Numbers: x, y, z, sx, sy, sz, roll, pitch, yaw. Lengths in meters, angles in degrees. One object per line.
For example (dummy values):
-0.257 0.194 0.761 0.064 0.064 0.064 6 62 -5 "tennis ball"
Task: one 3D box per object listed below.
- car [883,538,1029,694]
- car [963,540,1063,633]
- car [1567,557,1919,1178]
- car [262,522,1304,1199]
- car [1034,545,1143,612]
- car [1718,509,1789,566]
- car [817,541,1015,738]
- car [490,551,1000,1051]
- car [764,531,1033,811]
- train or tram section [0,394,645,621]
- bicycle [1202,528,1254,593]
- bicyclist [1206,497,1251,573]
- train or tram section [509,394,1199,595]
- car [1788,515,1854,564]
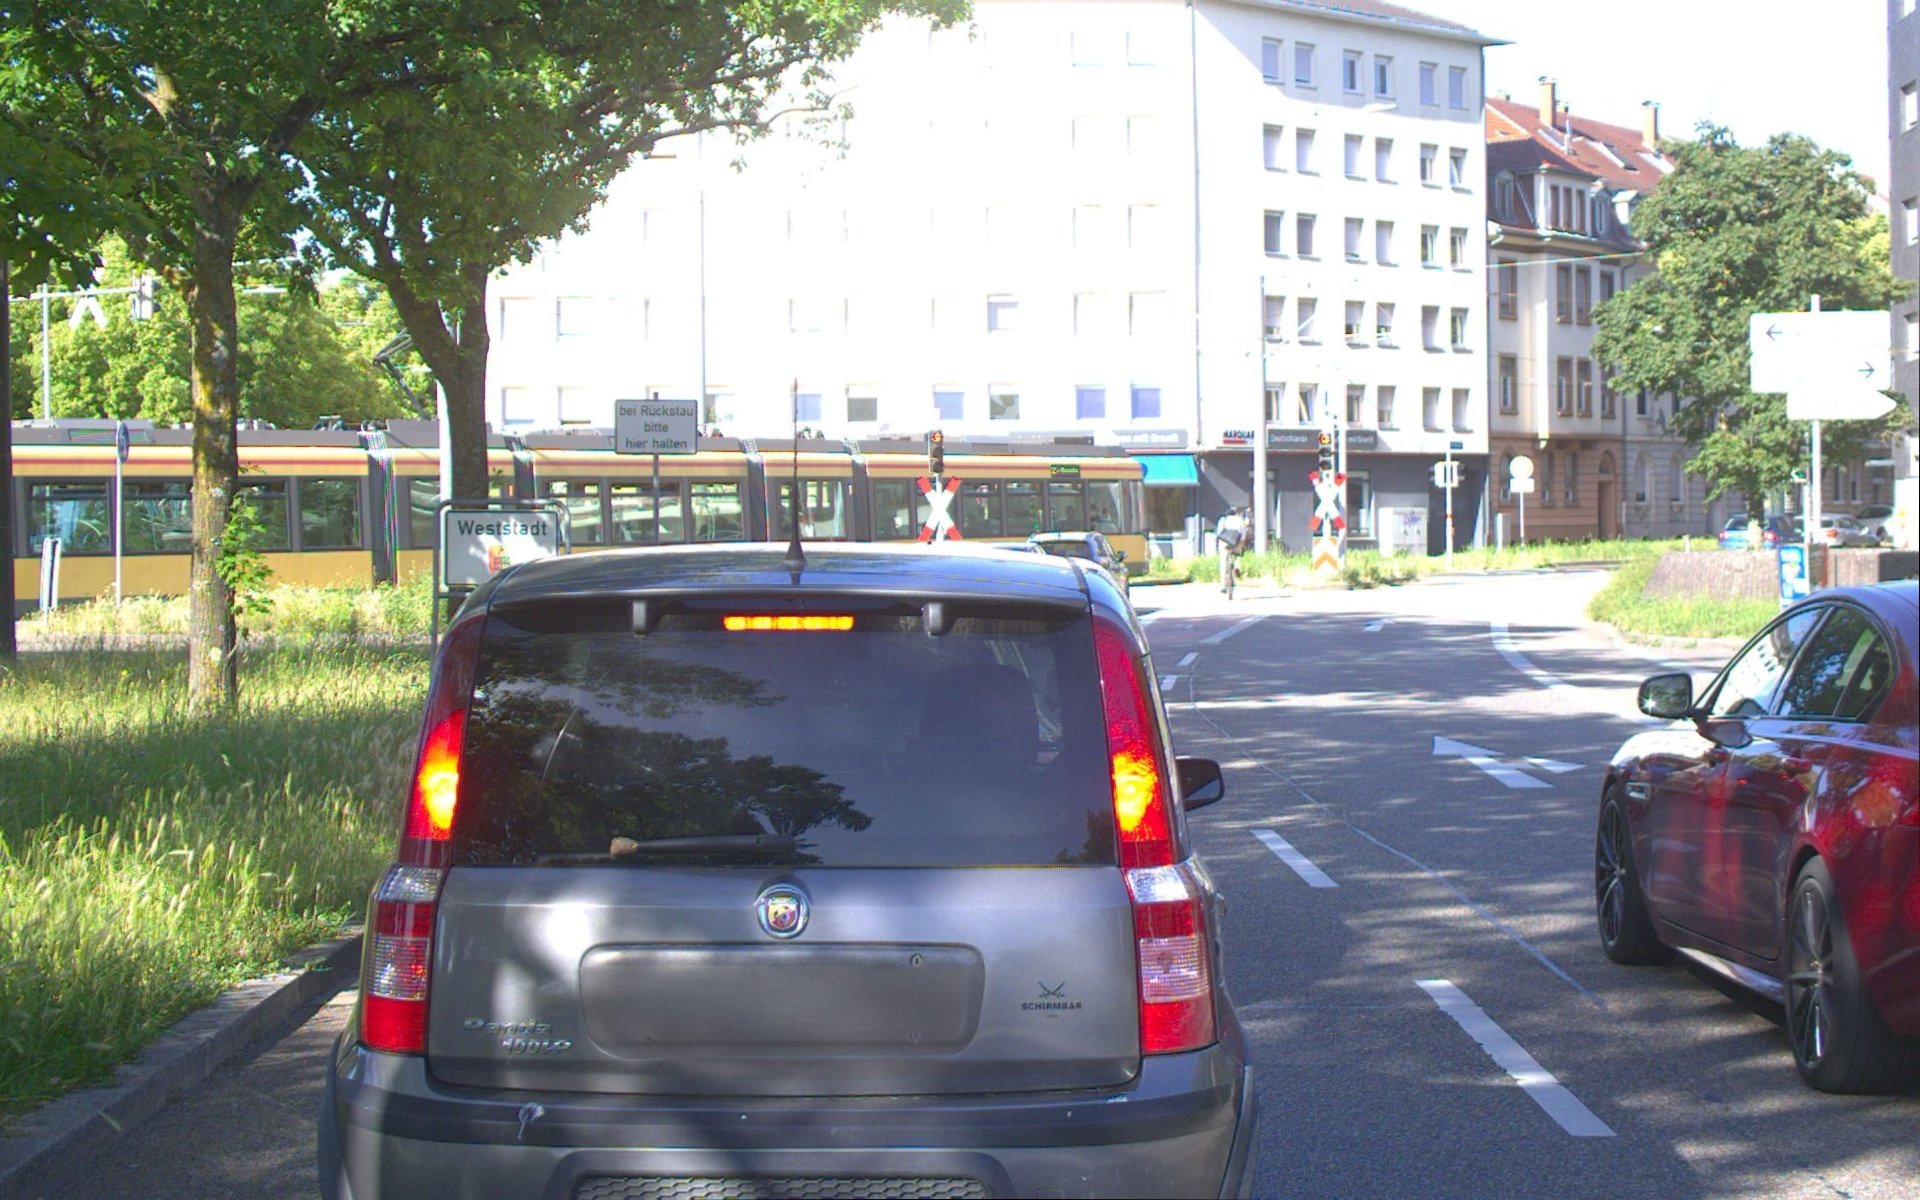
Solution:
-0.059 0.122 33.864 1.356 1.444 3.266 -1 1 -1 "car"
0.750 -0.212 49.597 1.356 1.277 2.876 0 1 -1 "car"
3.216 0.621 10.518 1.887 1.423 4.387 0 2 -1 "car"
-0.297 0.596 7.420 1.628 1.503 4.000 -1 1 -1 "car"
2.172 -0.370 57.671 1.143 1.060 2.719 0 1 17 "car"
20.881 -1.661 90.392 1.683 1.444 3.569 0 1 15 "car"
-0.344 0.267 27.287 1.463 1.420 3.381 0 2 -1 "car"
-0.640 0.559 11.641 1.463 1.396 3.393 0 1 -1 "car"
-0.358 0.355 20.681 1.463 1.503 3.505 0 2 -1 "car"
-13.258 -1.554 57.703 3.303 3.501 19.341 1 2 39 "train or tram section"
5.080 -0.744 65.185 0.708 1.194 2.520 1 1 -2 "bicycle"
5.082 -1.228 65.034 0.741 1.433 0.845 1 0 -1 "bicyclist"
-1.491 -2.252 73.791 3.302 3.757 20.770 0 2 34 "train or tram section"
23.557 -1.665 94.020 1.528 1.310 3.285 0 1 18 "car"
